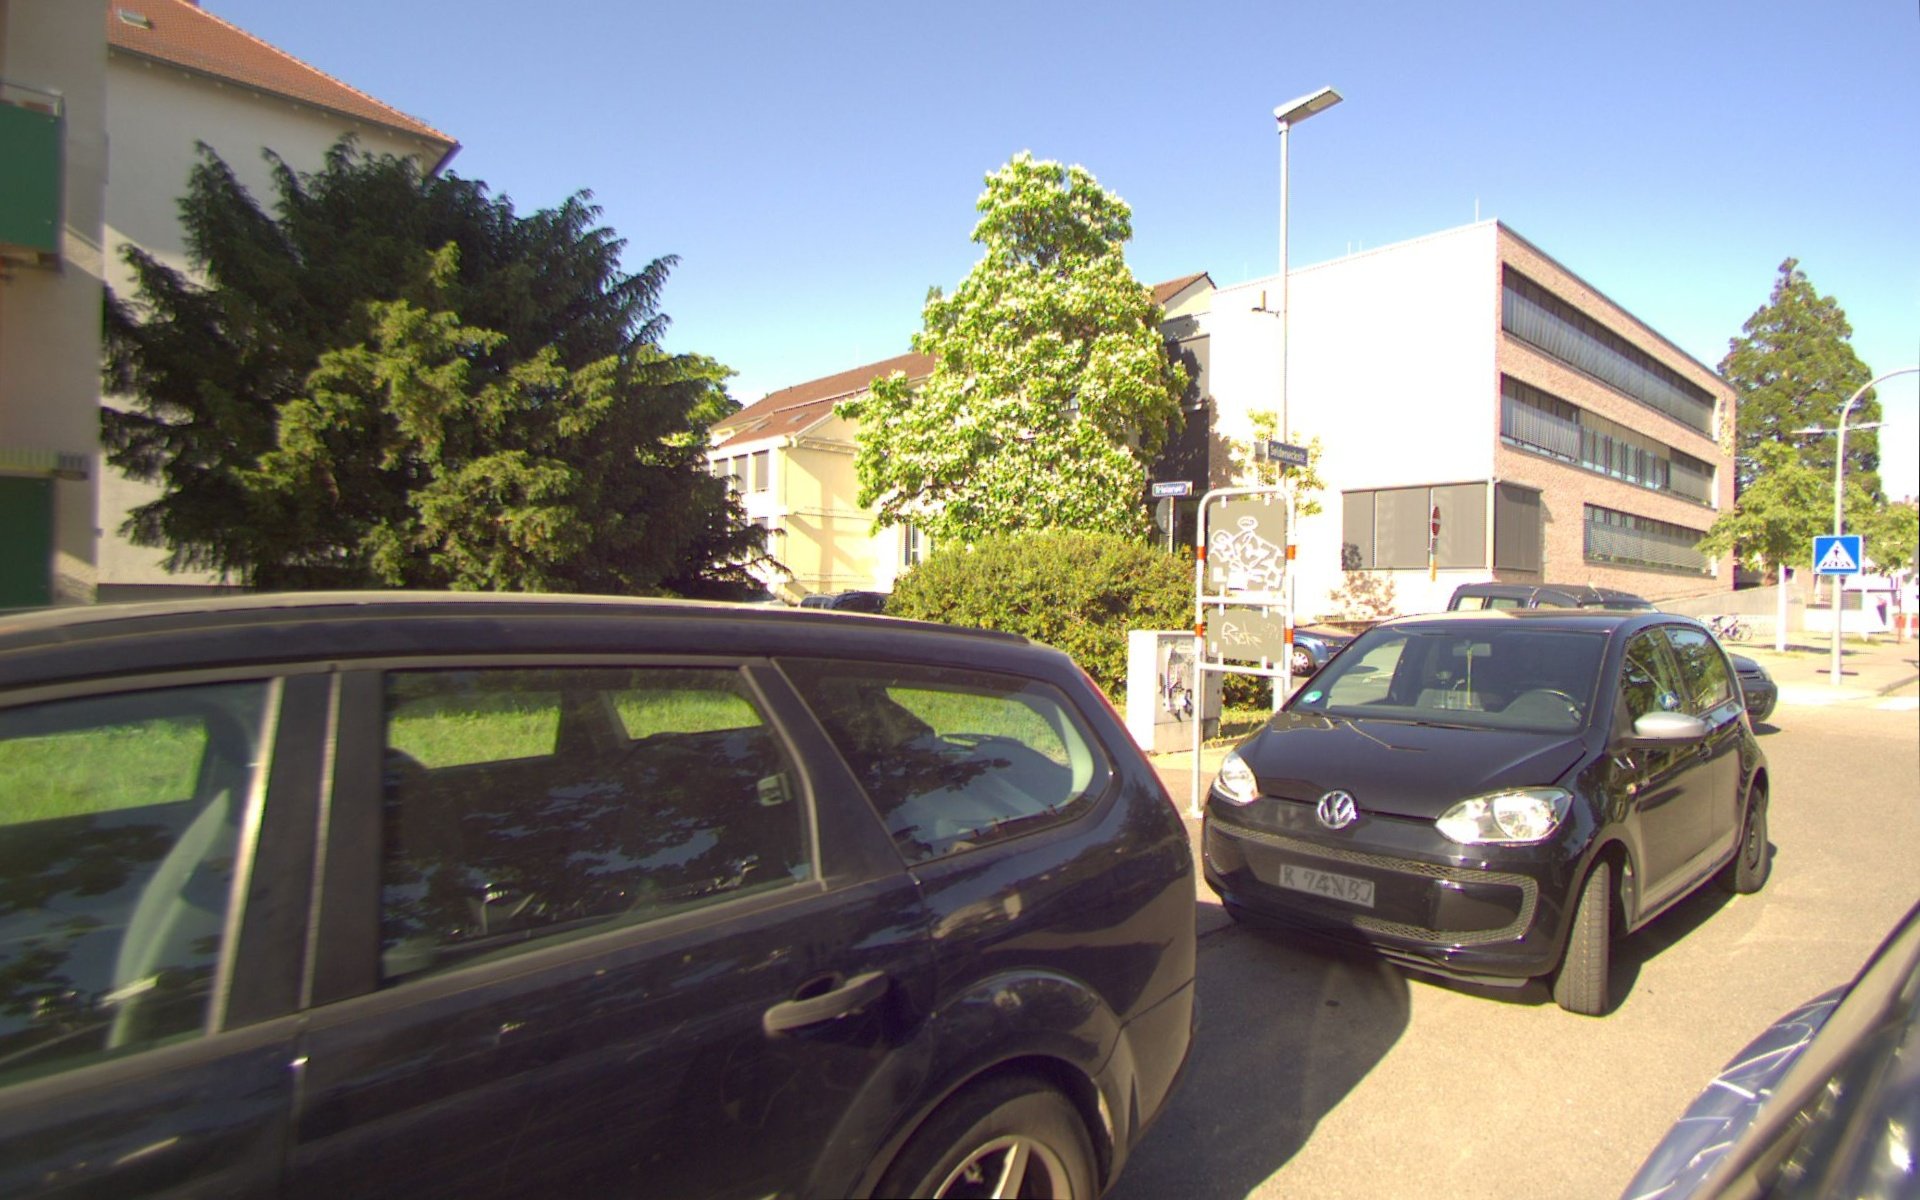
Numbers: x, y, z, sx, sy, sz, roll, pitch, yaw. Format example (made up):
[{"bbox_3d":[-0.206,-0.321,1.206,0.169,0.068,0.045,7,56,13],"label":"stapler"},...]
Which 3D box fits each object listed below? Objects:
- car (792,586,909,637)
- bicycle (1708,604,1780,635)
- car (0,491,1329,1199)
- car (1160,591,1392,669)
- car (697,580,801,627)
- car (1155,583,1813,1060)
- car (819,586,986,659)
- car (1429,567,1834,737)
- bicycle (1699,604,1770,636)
[{"bbox_3d":[-3.751,0.336,34.188,1.869,1.498,4.156,-4,4,-41],"label":"car"},{"bbox_3d":[31.112,0.766,40.199,0.844,1.077,2.084,1,3,-40],"label":"bicycle"},{"bbox_3d":[-1.391,0.663,1.674,4.476,1.549,1.773,0,0,-40],"label":"car"},{"bbox_3d":[6.802,0.573,22.181,1.875,1.493,4.551,0,1,-43],"label":"car"},{"bbox_3d":[-8.271,0.091,39.384,1.966,1.648,4.554,-3,3,-41],"label":"car"},{"bbox_3d":[2.800,0.710,5.045,3.726,1.493,1.661,0,-1,-41],"label":"car"},{"bbox_3d":[-1.405,0.456,23.588,1.792,1.530,3.976,1,0,-42],"label":"car"},{"bbox_3d":[8.313,0.544,13.066,1.864,1.812,4.165,1,0,-14],"label":"car"},{"bbox_3d":[30.136,0.751,39.393,0.867,1.076,2.029,1,3,-41],"label":"bicycle"}]
